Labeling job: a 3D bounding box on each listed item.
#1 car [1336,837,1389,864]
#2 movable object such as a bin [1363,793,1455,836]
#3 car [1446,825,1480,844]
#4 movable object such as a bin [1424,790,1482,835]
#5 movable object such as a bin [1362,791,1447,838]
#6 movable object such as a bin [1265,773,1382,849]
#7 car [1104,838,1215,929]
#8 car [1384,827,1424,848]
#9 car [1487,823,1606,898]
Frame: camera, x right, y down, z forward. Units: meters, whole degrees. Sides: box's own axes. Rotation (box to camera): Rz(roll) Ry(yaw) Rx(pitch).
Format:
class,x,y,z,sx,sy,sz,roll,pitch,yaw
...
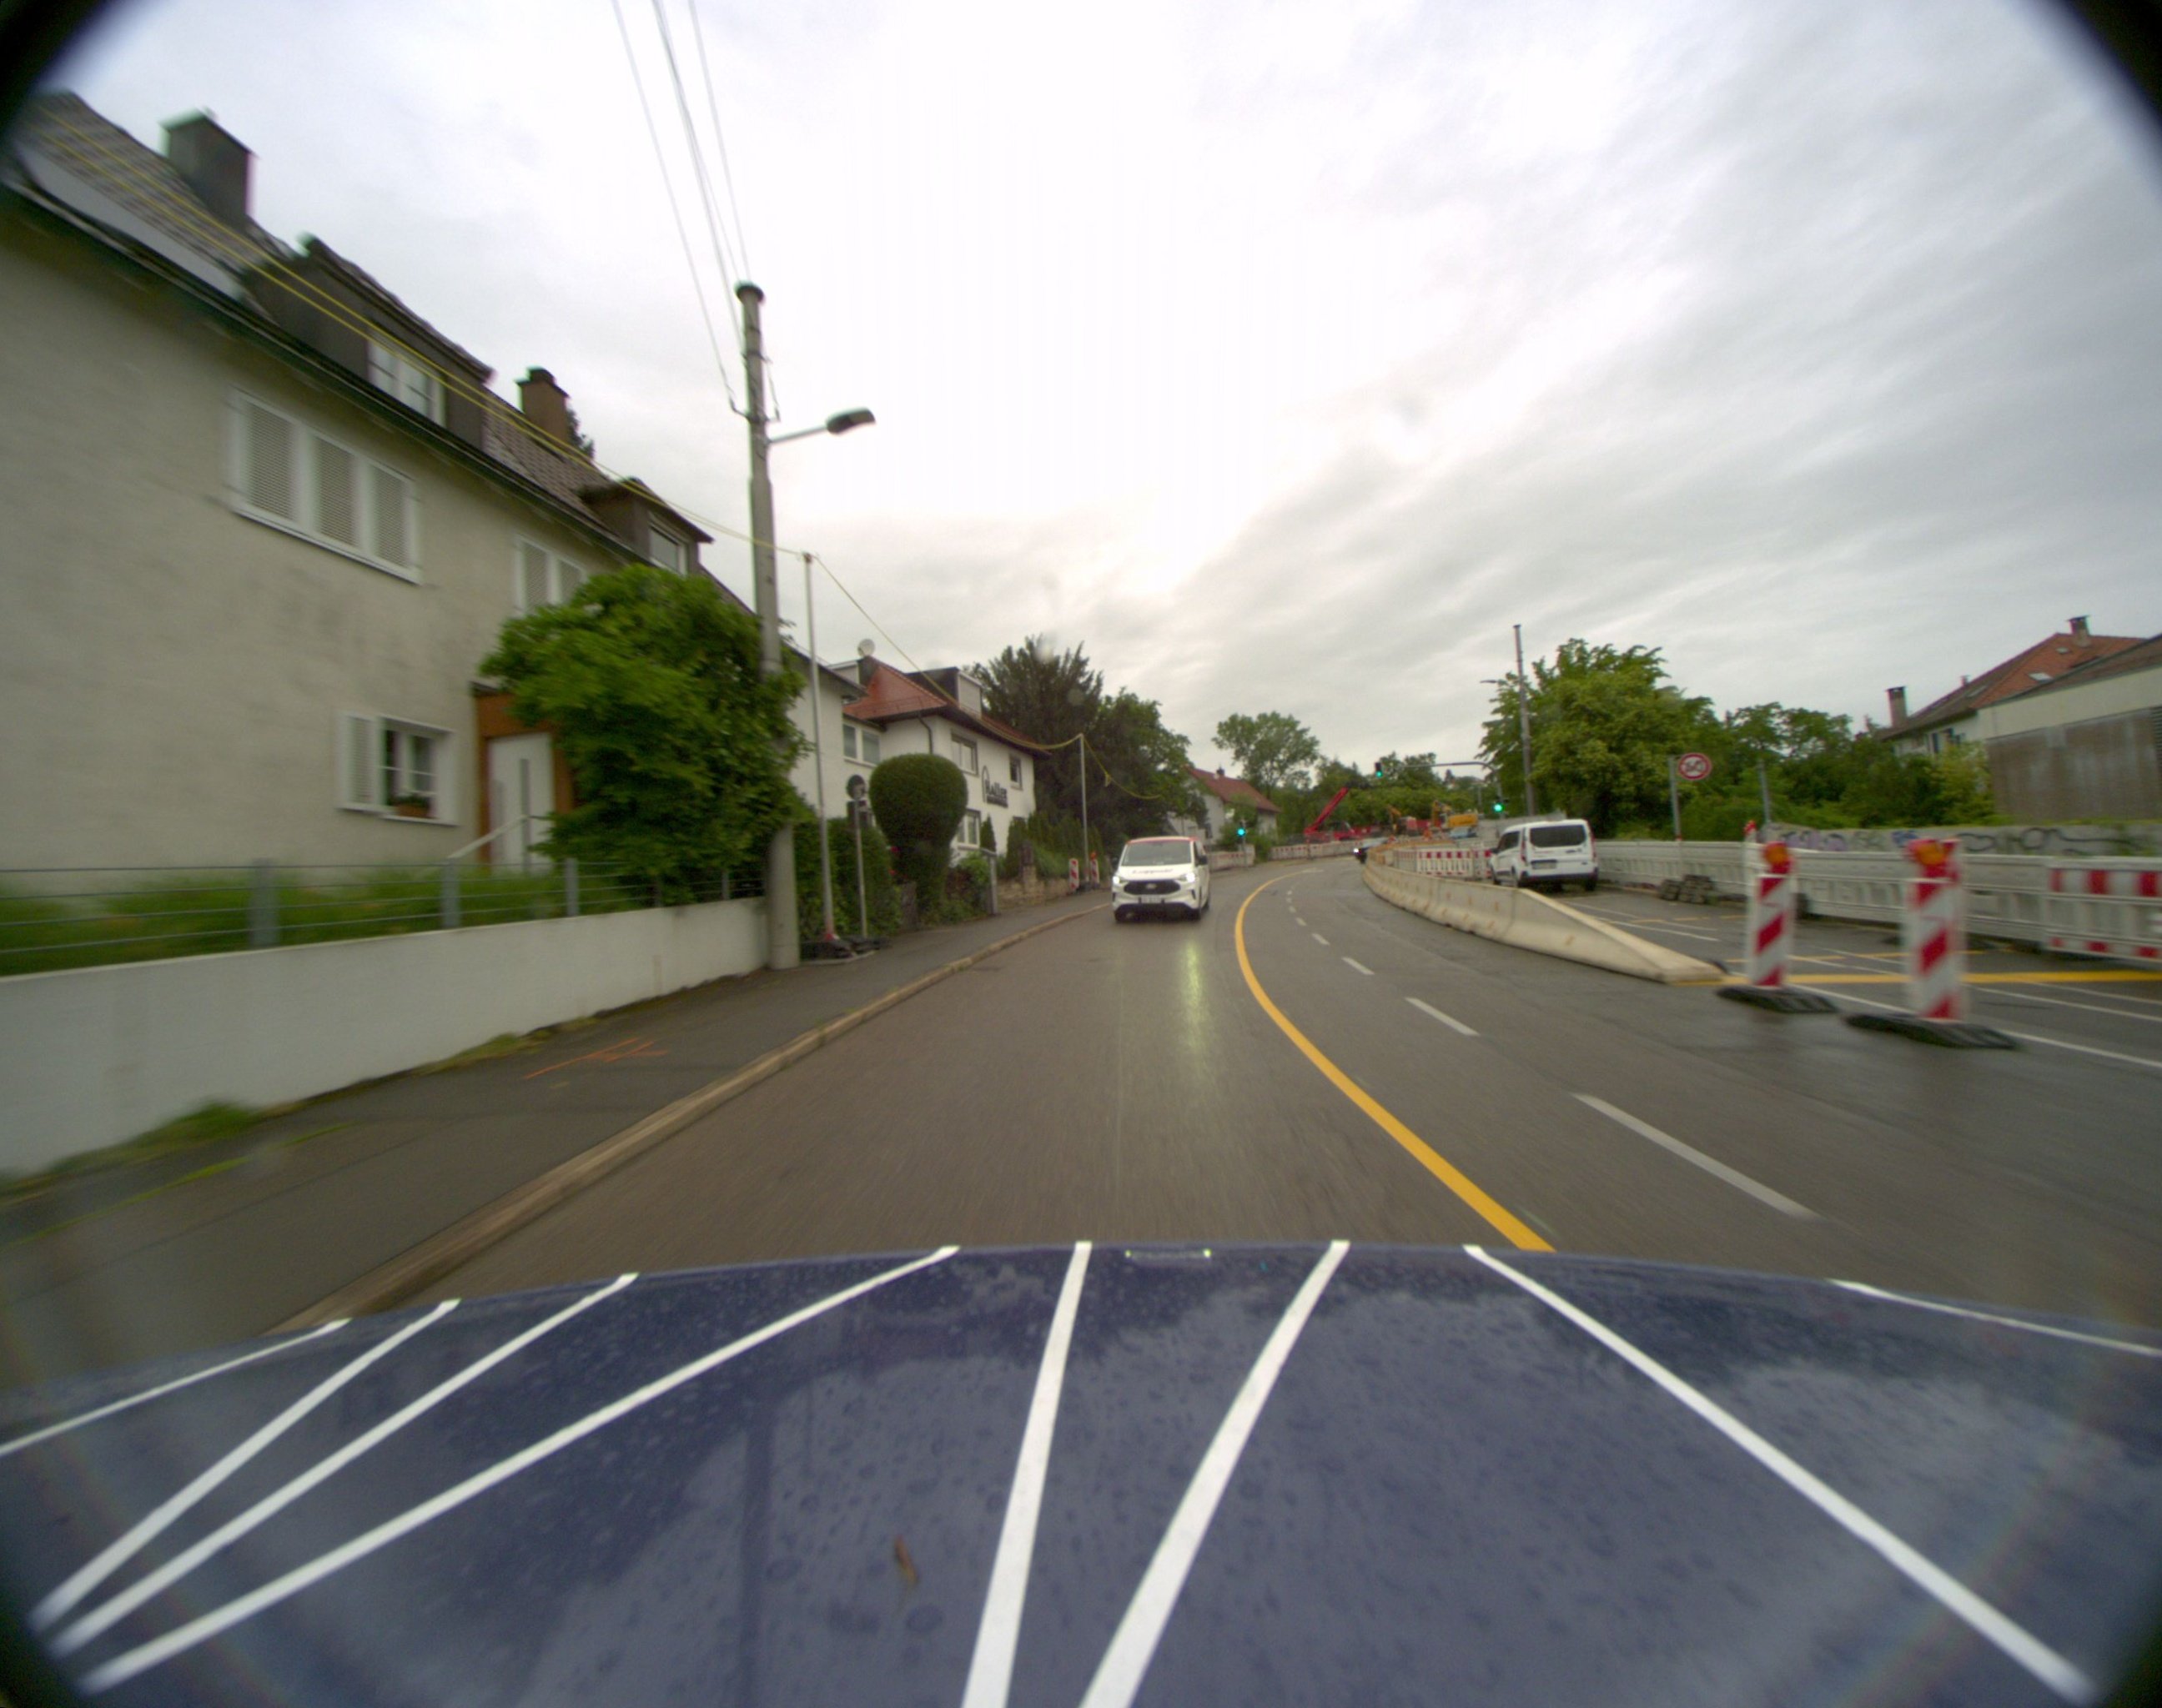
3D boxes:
class,x,y,z,sx,sy,sz,roll,pitch,yaw
car,17.985,-0.238,48.433,1.985,1.428,4.523,-3,1,35
movable object such as a bin,42.704,-5.133,98.596,13.557,5.168,5.242,-3,2,-40
car,33.796,-1.763,67.187,1.984,1.451,4.523,-2,2,36
movable object such as a bin,44.710,-4.863,91.677,3.320,4.974,9.858,-2,1,9
movable object such as a bin,37.314,-4.476,87.855,8.304,5.025,3.331,-1,2,43
movable object such as a bin,23.273,-3.936,72.775,9.032,6.515,7.049,-2,1,33
car,2.074,0.637,18.694,2.039,1.927,4.519,-1,0,14
car,25.985,-1.346,61.033,1.984,1.451,4.523,-2,2,36
car,12.509,0.140,20.736,1.807,1.790,4.469,-2,0,19
